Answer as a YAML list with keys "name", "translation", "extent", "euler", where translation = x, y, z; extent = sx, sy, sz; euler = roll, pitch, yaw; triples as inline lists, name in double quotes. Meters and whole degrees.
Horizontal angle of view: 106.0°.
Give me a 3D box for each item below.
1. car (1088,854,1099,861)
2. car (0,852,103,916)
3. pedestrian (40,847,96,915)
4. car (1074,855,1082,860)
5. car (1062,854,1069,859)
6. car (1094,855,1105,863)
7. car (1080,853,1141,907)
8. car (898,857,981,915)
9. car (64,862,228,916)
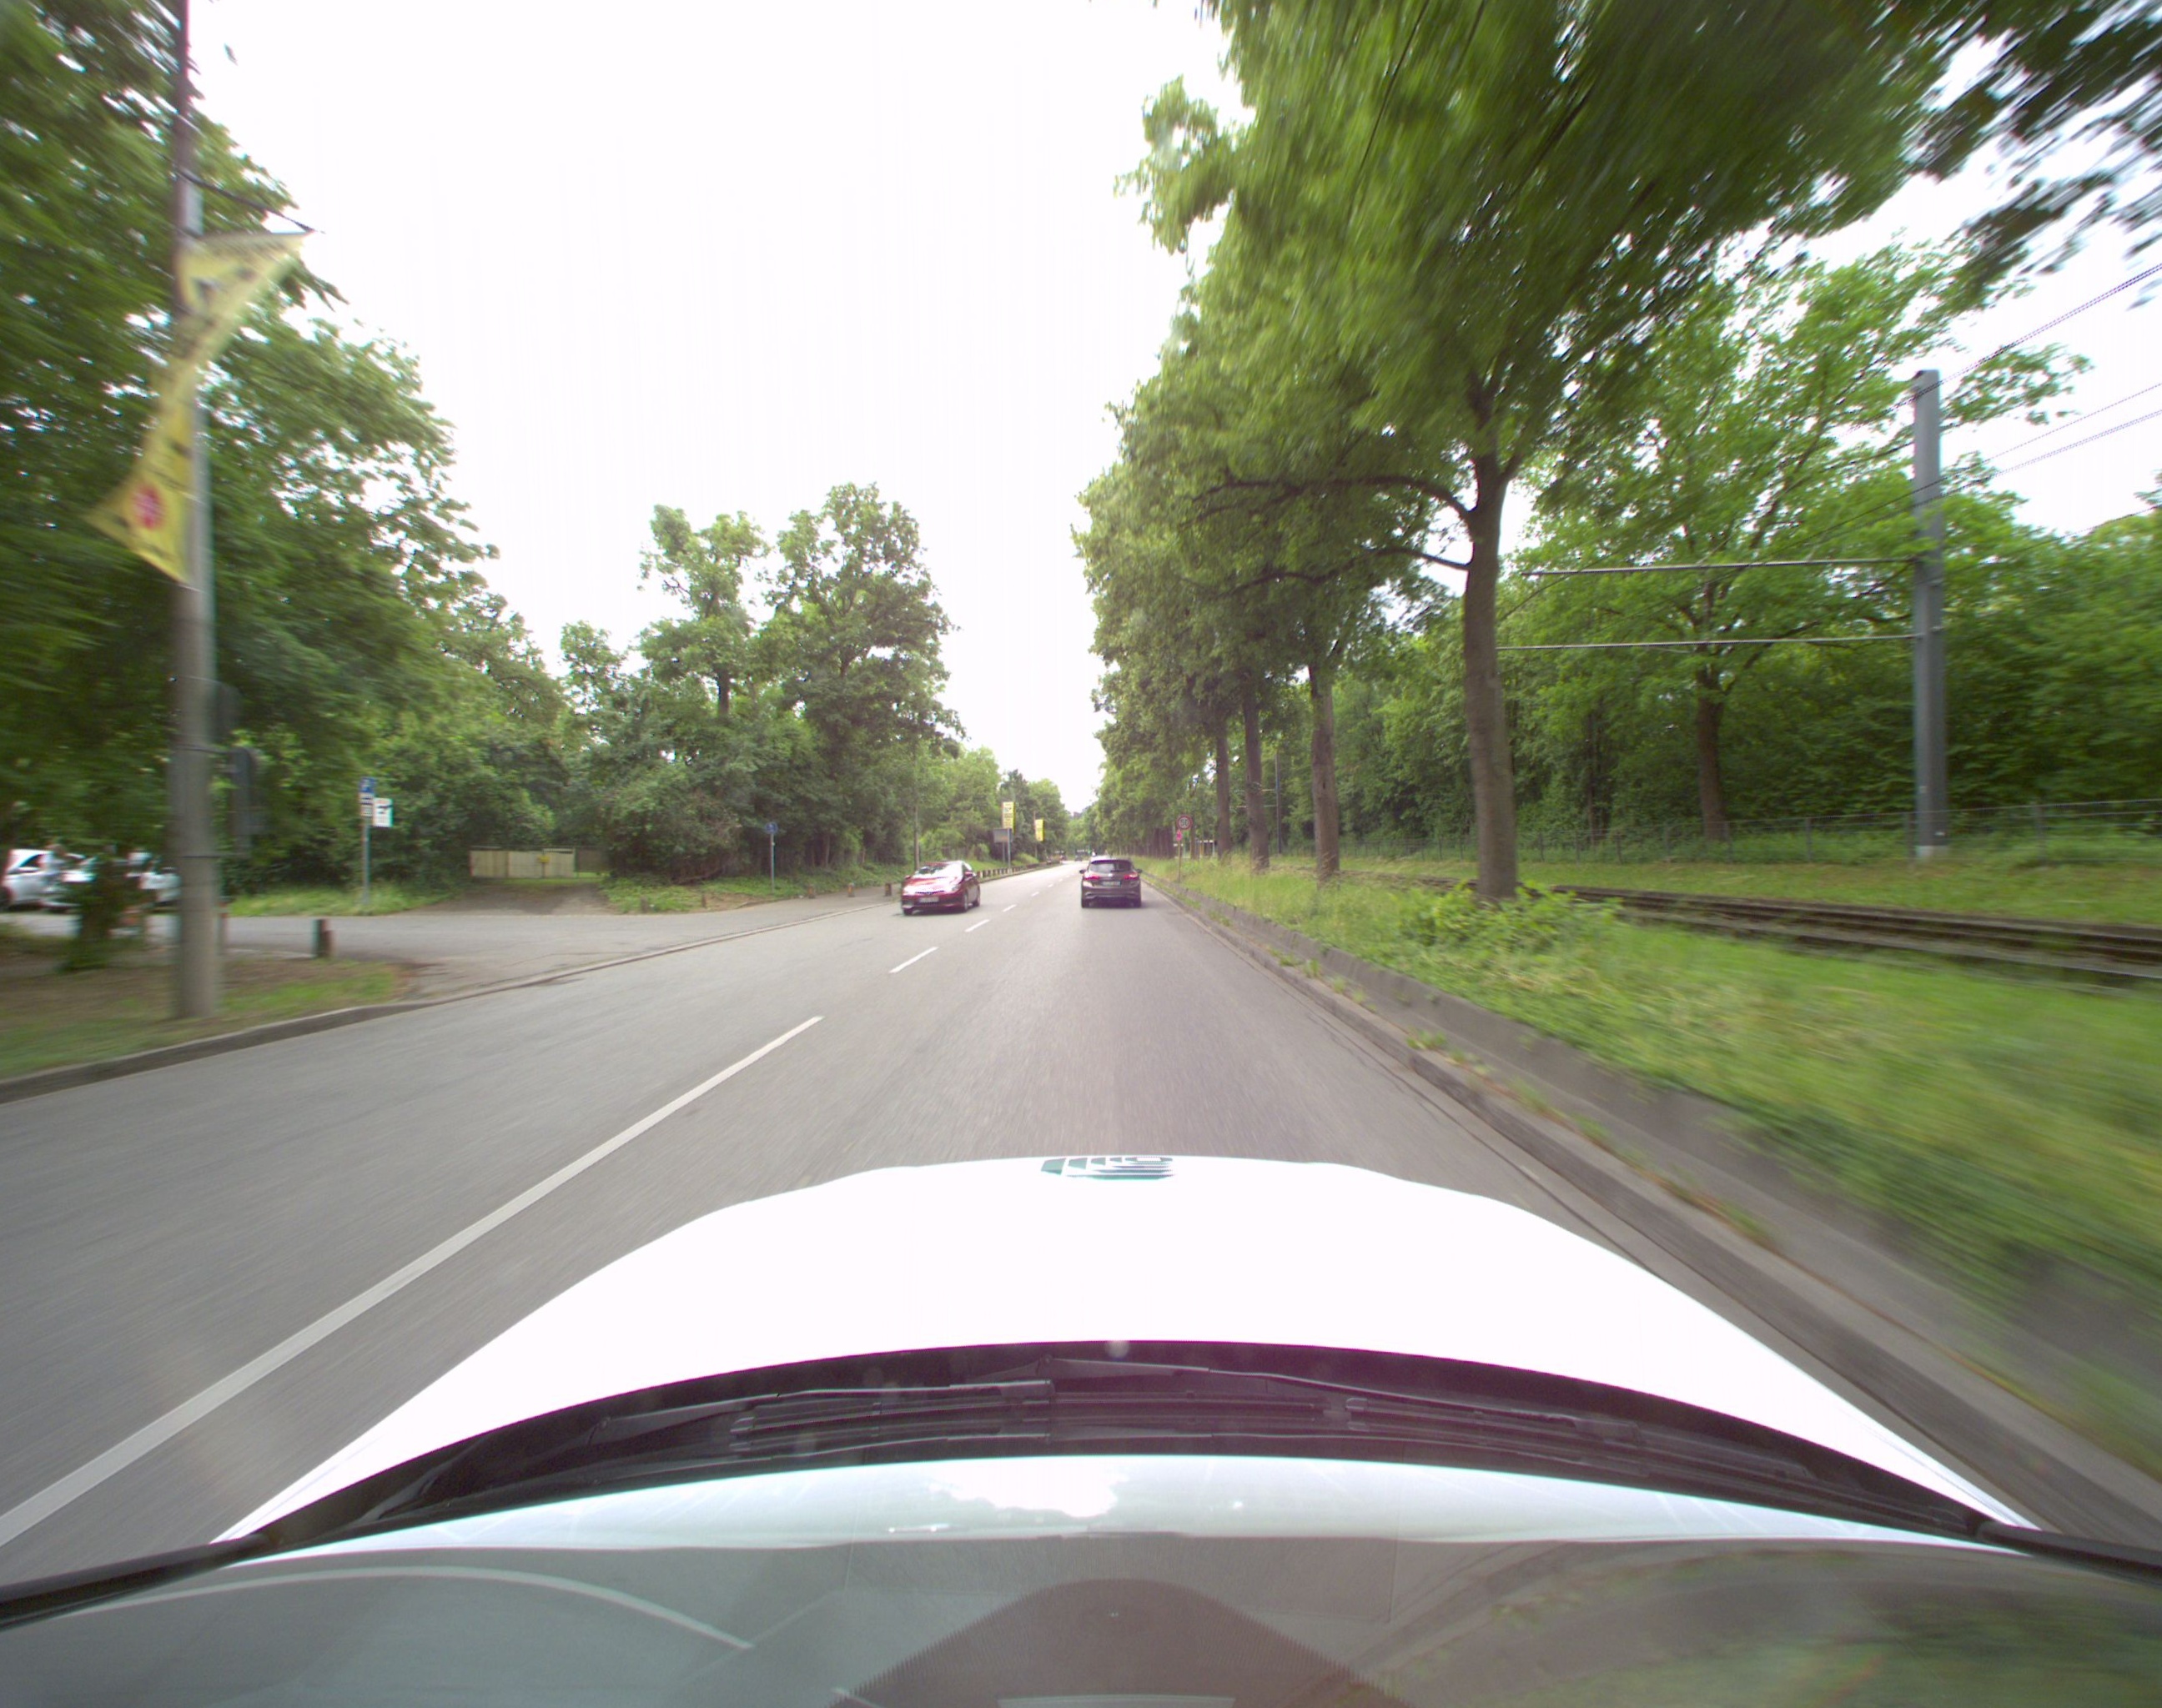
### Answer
- name: "car"
  translation: [2.627, 0.701, 176.130]
  extent: [1.563, 1.441, 3.536]
  euler: [0, 0, -13]
- name: "car"
  translation: [-25.348, 0.669, 19.310]
  extent: [1.375, 1.402, 3.050]
  euler: [1, -1, -20]
- name: "pedestrian"
  translation: [-24.513, 0.632, 19.719]
  extent: [0.470, 1.611, 0.825]
  euler: [0, 0, -20]
- name: "car"
  translation: [-0.727, 0.888, 212.251]
  extent: [1.561, 1.441, 3.541]
  euler: [0, 0, -8]
- name: "car"
  translation: [-4.658, 0.793, 243.797]
  extent: [1.562, 1.441, 3.538]
  euler: [0, 0, -11]
- name: "car"
  translation: [3.070, 0.808, 135.431]
  extent: [1.557, 1.441, 3.549]
  euler: [0, 0, -2]
- name: "car"
  translation: [0.876, 0.735, 24.945]
  extent: [1.724, 1.537, 3.552]
  euler: [0, 0, 1]
- name: "car"
  translation: [-3.998, 0.851, 23.700]
  extent: [1.712, 1.428, 4.194]
  euler: [-3, 0, -1]
- name: "car"
  translation: [-23.634, 0.847, 20.732]
  extent: [1.375, 1.238, 3.050]
  euler: [1, -1, -20]
